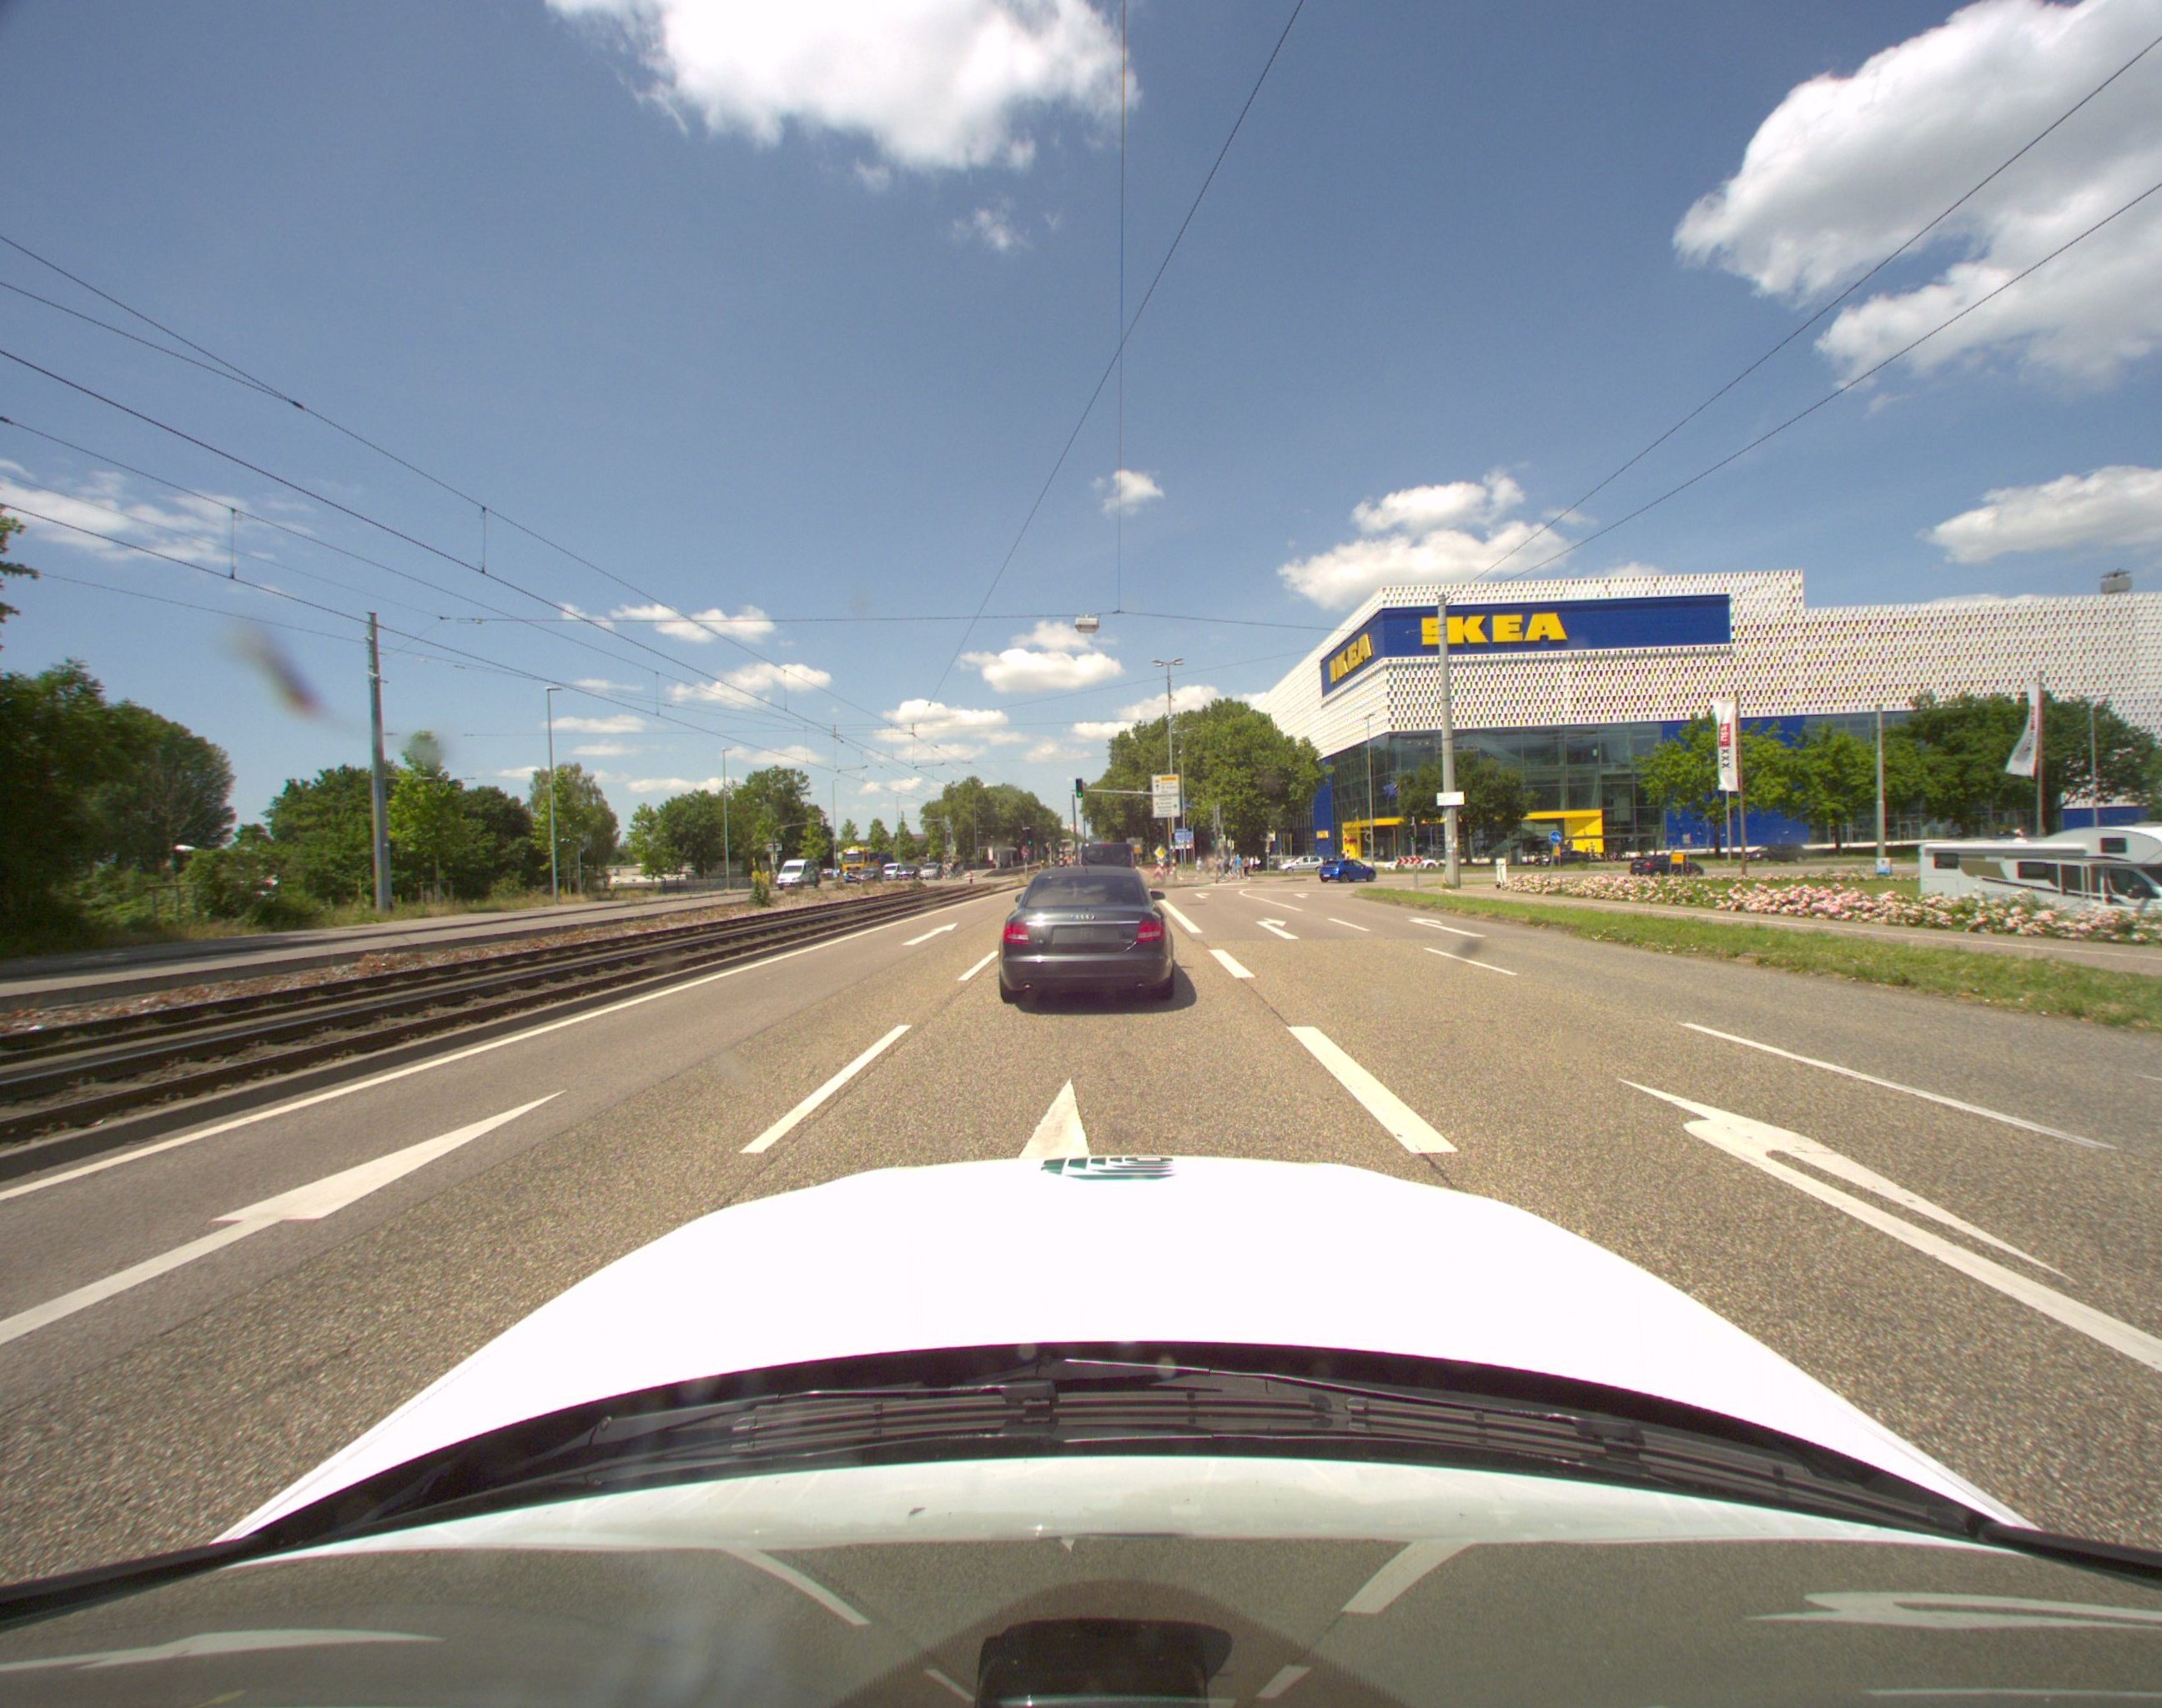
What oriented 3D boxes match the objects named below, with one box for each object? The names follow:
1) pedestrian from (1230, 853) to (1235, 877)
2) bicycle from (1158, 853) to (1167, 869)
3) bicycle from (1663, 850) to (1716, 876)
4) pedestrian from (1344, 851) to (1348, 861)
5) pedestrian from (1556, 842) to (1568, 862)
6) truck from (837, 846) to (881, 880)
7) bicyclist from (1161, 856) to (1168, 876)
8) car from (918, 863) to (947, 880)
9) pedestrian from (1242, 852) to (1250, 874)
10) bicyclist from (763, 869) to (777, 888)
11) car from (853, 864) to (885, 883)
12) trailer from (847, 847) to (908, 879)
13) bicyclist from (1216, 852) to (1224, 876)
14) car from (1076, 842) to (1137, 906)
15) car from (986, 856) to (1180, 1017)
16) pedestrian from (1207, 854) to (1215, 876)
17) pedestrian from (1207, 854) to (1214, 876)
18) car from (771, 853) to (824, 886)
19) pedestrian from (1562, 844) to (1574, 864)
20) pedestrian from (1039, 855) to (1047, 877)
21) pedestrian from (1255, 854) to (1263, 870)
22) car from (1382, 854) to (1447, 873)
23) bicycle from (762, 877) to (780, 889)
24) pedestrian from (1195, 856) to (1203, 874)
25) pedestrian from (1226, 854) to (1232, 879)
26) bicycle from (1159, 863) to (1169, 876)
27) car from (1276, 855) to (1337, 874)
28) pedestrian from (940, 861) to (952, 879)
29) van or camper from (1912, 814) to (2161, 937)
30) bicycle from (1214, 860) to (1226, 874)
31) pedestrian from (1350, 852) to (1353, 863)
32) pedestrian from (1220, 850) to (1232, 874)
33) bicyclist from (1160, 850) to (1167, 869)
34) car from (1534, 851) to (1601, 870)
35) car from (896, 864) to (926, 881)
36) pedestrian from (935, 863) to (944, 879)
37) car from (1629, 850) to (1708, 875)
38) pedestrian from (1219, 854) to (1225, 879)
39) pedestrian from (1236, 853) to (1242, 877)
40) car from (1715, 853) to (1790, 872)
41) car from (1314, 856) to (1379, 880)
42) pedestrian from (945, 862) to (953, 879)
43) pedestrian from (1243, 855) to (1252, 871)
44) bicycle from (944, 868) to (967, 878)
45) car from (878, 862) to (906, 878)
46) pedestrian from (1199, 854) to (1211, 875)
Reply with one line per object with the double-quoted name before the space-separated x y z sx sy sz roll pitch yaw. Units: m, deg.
"pedestrian" 10.731 0.778 57.606 0.319 1.635 0.377 -1 -1 5
"bicycle" 7.773 0.665 77.439 0.685 1.519 2.753 -1 0 2
"bicycle" 36.967 0.540 49.513 2.410 1.481 0.990 -1 -1 6
"pedestrian" 33.589 0.271 103.239 0.287 1.342 0.266 -1 -1 2
"pedestrian" 49.838 -0.236 84.415 0.707 2.014 0.825 -1 0 4
"truck" -24.269 0.952 89.372 2.757 3.569 6.442 -1 0 2
"bicyclist" 6.981 0.975 68.275 0.526 1.676 1.088 -1 -1 2
"car" -15.071 1.749 83.023 1.814 1.670 4.466 0 0 4
"pedestrian" 12.578 0.697 62.080 0.518 1.670 0.495 -1 -1 5
"bicyclist" -28.859 2.295 75.526 1.116 1.774 0.340 -1 -1 -3
"car" -20.549 1.880 79.217 1.815 1.670 4.463 0 0 2
"trailer" -24.017 1.019 97.345 2.757 3.518 15.883 -1 0 2
"bicyclist" 10.528 0.770 61.704 0.525 1.764 0.831 -1 -1 15
"car" 0.851 0.637 27.255 1.830 1.950 4.001 -1 -1 2
"car" 0.091 0.783 9.662 1.785 1.455 4.002 -2 0 2
"pedestrian" 9.504 0.811 59.452 0.551 1.635 0.433 -1 -1 4
"pedestrian" 9.421 0.804 59.416 0.443 1.635 0.430 -1 -1 5
"car" -24.610 1.275 70.974 2.236 2.589 6.234 -4 0 0
"pedestrian" 49.822 -0.036 83.309 0.707 2.014 0.825 -1 0 4
"pedestrian" -3.638 1.156 78.301 0.683 2.014 0.572 -1 -1 -3
"pedestrian" 17.745 0.799 81.254 0.698 1.635 0.615 -1 -1 21
"car" 26.912 0.763 65.827 4.475 1.486 2.003 0 0 5
"bicycle" -28.758 2.688 75.536 1.487 0.987 0.485 -1 -1 -2
"pedestrian" 9.745 0.895 67.277 0.490 1.520 0.710 -1 -1 19
"pedestrian" 9.750 0.794 53.646 0.337 1.635 0.377 -1 -1 5
"bicycle" 6.917 1.311 68.222 0.685 1.006 2.753 -1 0 2
"car" 18.267 0.819 66.118 4.475 1.486 2.003 0 0 5
"pedestrian" -13.088 1.563 78.899 0.816 1.720 0.779 -1 -1 24
"van or camper" 28.138 0.531 22.985 2.494 3.020 7.235 -1 0 6
"bicycle" 10.527 0.994 61.619 0.654 1.022 1.869 -1 0 16
"pedestrian" 33.994 0.432 102.409 0.287 1.342 0.266 -1 -1 2
"pedestrian" 11.475 0.644 64.467 0.678 1.846 0.711 -1 -1 27
"bicyclist" 7.770 0.509 77.052 0.526 1.789 1.088 -1 -1 2
"car" 41.056 0.567 68.831 4.475 1.486 2.003 -1 0 5
"car" -17.689 1.862 84.783 1.814 1.670 4.467 0 0 5
"pedestrian" -13.195 1.587 76.055 0.683 1.443 0.572 -1 -1 -2
"car" 38.482 0.524 53.381 4.082 1.526 1.762 -1 0 -7
"pedestrian" 9.288 0.820 53.677 0.379 1.635 0.377 -1 -1 5
"pedestrian" 11.151 0.781 57.441 0.396 1.635 0.371 -1 -1 5
"car" 55.844 0.668 67.826 4.475 1.486 2.003 -1 0 5
"car" 16.658 0.867 51.013 4.016 1.454 1.824 0 0 -34
"pedestrian" -12.509 1.533 77.151 0.683 1.564 0.572 -1 -1 -2
"pedestrian" 16.589 0.867 81.106 0.698 1.544 0.681 -1 -1 21
"bicycle" -11.563 1.769 75.100 2.054 0.925 0.751 -1 -1 -8
"car" -20.783 1.794 89.700 1.814 1.670 4.465 0 0 3
"pedestrian" 9.820 0.823 64.570 0.706 1.635 0.711 -1 -1 27
